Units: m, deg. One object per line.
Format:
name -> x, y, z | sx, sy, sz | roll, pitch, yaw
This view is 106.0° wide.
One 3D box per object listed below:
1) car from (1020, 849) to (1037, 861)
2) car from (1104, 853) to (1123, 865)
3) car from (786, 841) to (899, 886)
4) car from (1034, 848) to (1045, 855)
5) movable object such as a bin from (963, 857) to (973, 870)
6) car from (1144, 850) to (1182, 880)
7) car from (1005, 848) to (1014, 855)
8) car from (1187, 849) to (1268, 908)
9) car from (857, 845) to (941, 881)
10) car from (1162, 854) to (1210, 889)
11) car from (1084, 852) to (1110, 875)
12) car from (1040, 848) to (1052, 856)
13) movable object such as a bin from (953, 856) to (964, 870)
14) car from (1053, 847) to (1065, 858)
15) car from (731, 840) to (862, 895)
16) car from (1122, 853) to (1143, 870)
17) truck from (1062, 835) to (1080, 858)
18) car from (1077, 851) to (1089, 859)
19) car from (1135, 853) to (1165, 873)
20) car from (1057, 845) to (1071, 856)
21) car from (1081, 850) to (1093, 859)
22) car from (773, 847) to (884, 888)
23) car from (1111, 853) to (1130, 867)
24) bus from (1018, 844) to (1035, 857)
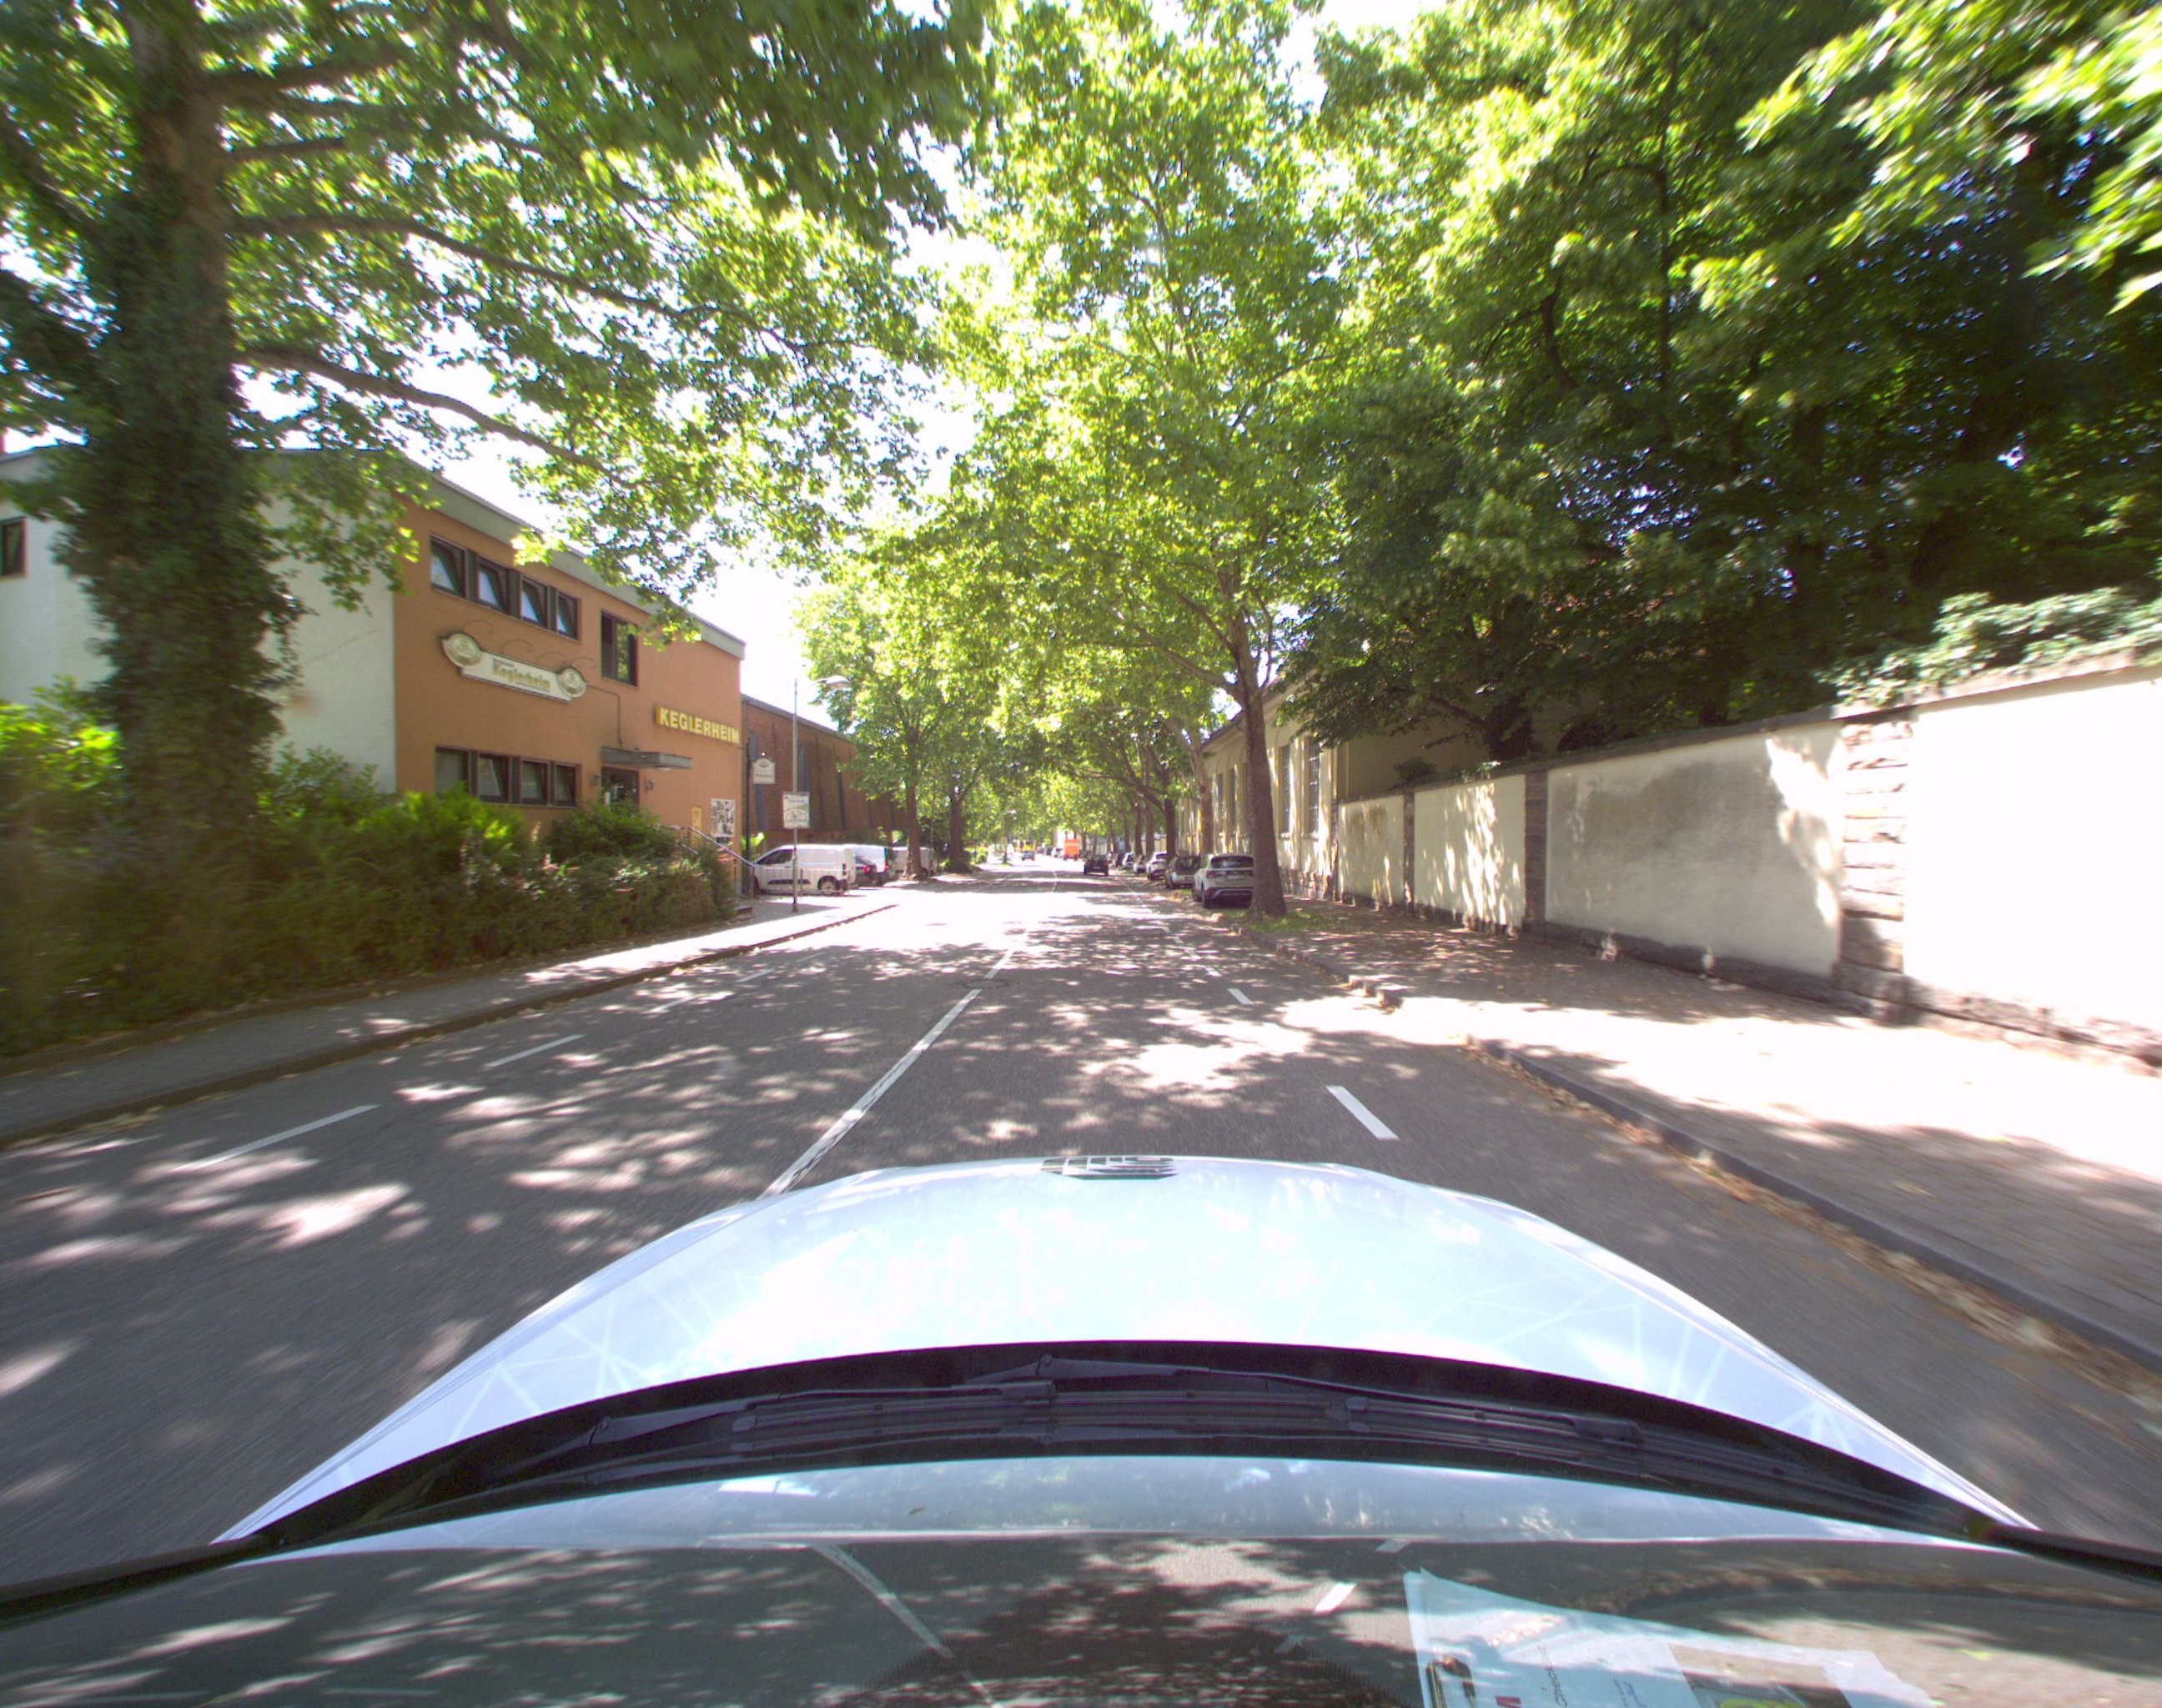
car -> -7.692, 0.150, 118.957 | 1.985, 1.666, 4.003 | 0, -1, 3
car -> 3.768, 0.530, 95.494 | 1.763, 1.374, 3.724 | -1, 0, -4
car -> -10.597, 0.422, 36.463 | 4.412, 1.804, 1.901 | 2, 0, -3
car -> -8.491, -0.526, 167.512 | 1.768, 1.374, 3.715 | -1, 0, -12
movable object such as a bin -> -8.720, 0.727, 62.843 | 0.621, 1.048, 0.621 | 1, 0, 2
car -> 4.793, 0.613, 48.272 | 1.802, 1.689, 4.752 | -1, 0, 1
car -> -14.463, -0.537, 165.492 | 1.708, 1.447, 4.051 | 0, 0, -4
car -> 4.351, 0.670, 24.848 | 1.734, 1.557, 4.782 | -1, 1, 2
car -> -9.930, 0.476, 44.605 | 4.118, 1.804, 1.901 | 2, 0, -3
car -> 4.614, 0.738, 36.334 | 1.616, 1.439, 4.433 | -1, 0, 1
car -> 1.068, 0.619, 56.346 | 1.705, 1.447, 4.057 | 0, 1, 0
car -> -6.636, -0.376, 154.739 | 1.768, 1.374, 3.714 | -1, 0, -12
movable object such as a bin -> -9.468, 0.700, 62.762 | 0.732, 1.078, 0.701 | 1, 0, 0
car -> -3.798, -0.276, 140.894 | 1.876, 1.686, 3.993 | 0, -1, -4
car -> -10.177, 0.472, 29.363 | 3.977, 1.792, 1.866 | 2, 0, -3
car -> 4.572, 0.630, 73.278 | 1.572, 1.466, 3.874 | -1, 0, -1
truck -> -1.489, -1.027, 118.614 | 2.365, 3.134, 5.762 | 0, -1, -3
car -> 0.341, 0.158, 144.116 | 1.763, 1.374, 3.724 | -1, 0, -4
car -> 4.960, 0.628, 58.932 | 1.761, 1.433, 3.873 | -1, 0, -1
car -> -2.763, -0.552, 132.531 | 1.877, 1.686, 3.990 | 1, -1, -7
car -> 0.959, 0.117, 131.176 | 1.763, 1.374, 3.724 | 1, 0, -4
car -> -10.452, 0.553, 33.908 | 3.977, 1.515, 1.866 | 2, 0, -3
car -> 4.161, 0.632, 85.851 | 1.761, 1.466, 3.873 | -1, 0, -1
bus -> -13.008, -0.798, 193.810 | 2.665, 3.150, 11.151 | 0, 0, -12
